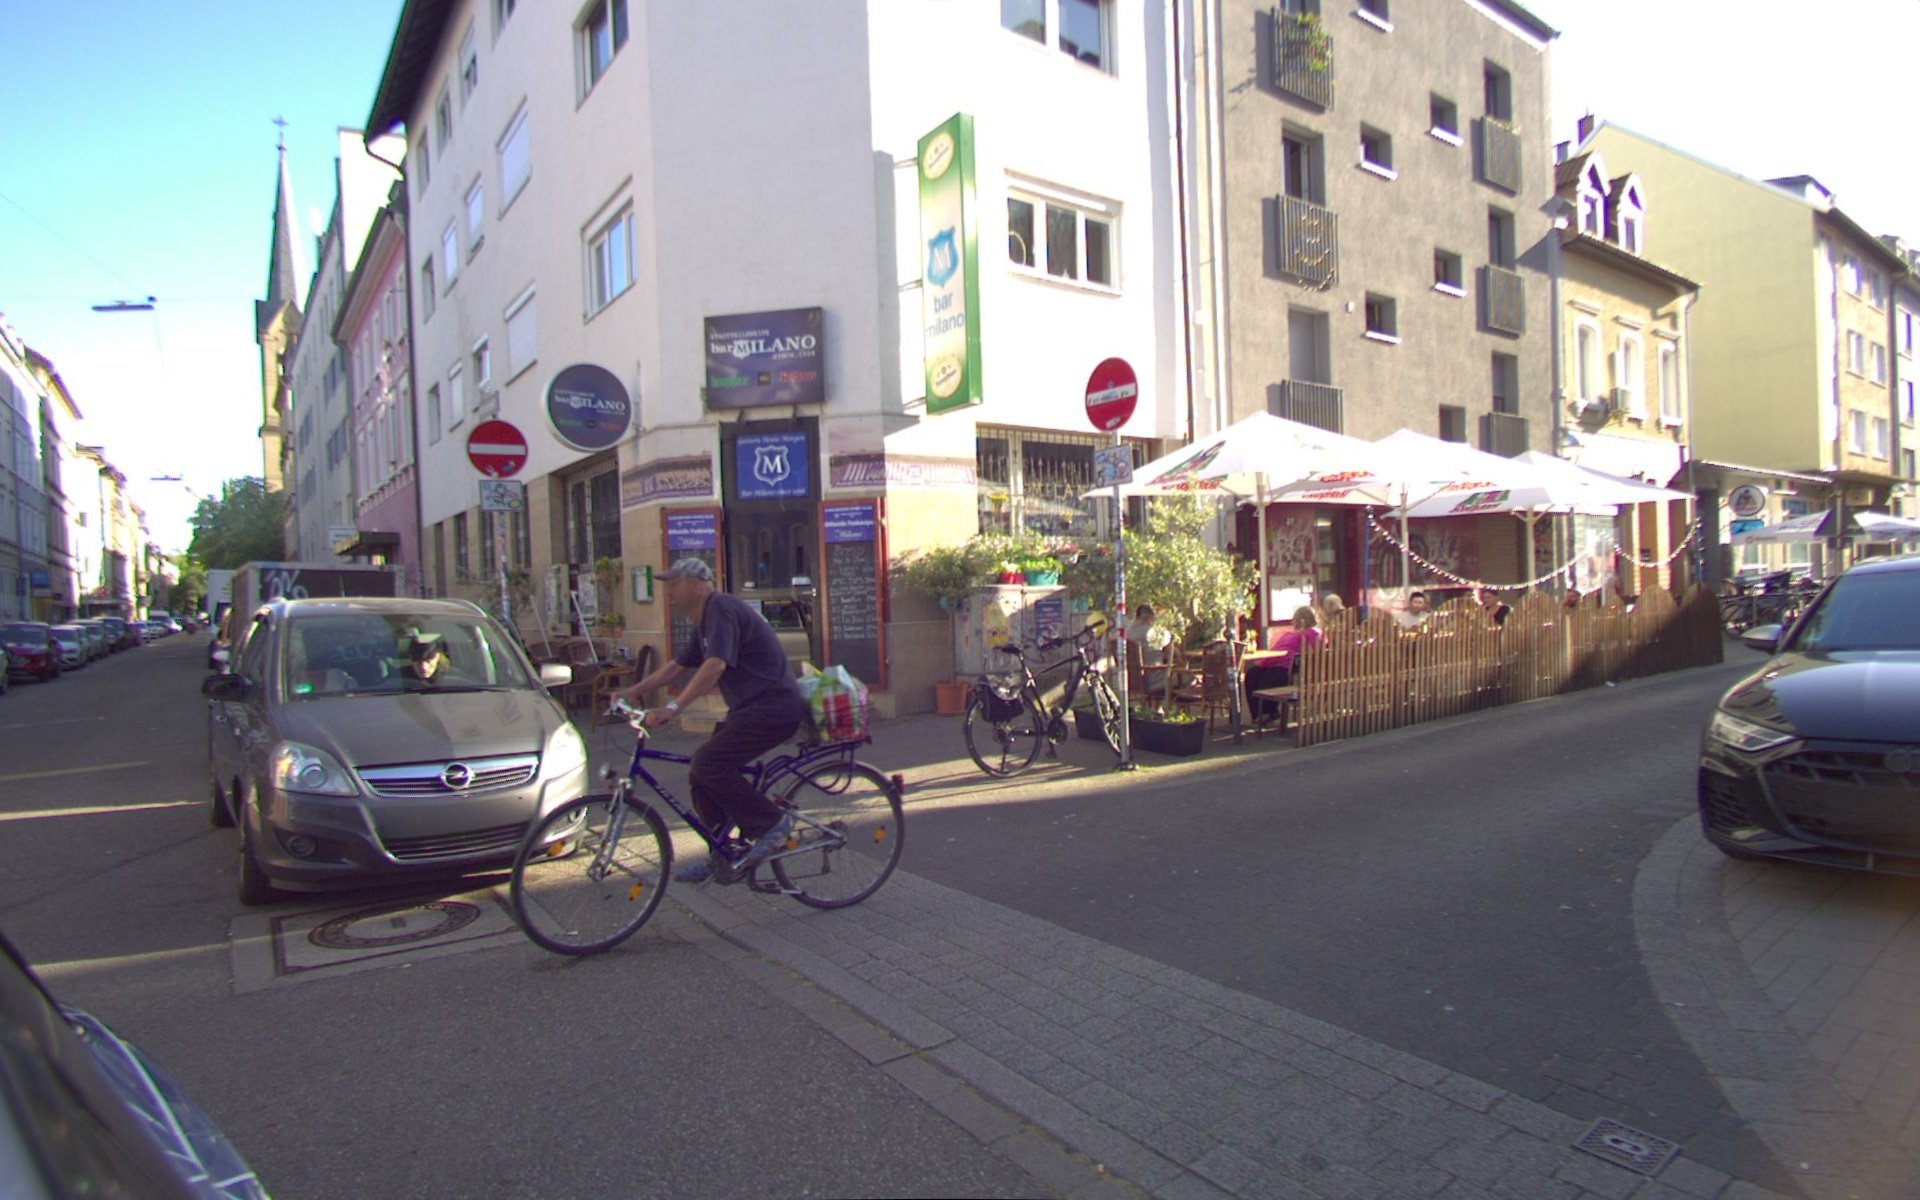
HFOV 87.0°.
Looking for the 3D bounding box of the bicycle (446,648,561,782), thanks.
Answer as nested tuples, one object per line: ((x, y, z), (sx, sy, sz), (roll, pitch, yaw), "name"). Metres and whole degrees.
((-4.506, 1.079, 9.942), (0.569, 1.147, 1.463), (-4, 1, -42), "bicycle")

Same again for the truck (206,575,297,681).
((-24.029, 0.863, 34.324), (2.260, 3.207, 7.061), (-1, 0, -35), "truck")

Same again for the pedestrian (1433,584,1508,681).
((7.016, 0.426, 13.936), (0.650, 1.275, 0.616), (-3, 1, -7), "pedestrian")

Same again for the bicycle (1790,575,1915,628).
((19.389, 0.026, 22.030), (0.602, 1.078, 1.933), (-3, 1, -32), "bicycle")

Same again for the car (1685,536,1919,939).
((5.149, 0.420, 4.845), (4.088, 1.466, 1.762), (-3, 0, -40), "car")

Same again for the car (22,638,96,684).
((-31.422, 2.073, 35.377), (1.588, 1.406, 3.890), (0, 0, -37), "car")

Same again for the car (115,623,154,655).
((-58.362, 2.703, 71.515), (1.969, 2.028, 4.571), (-4, 2, -40), "car")

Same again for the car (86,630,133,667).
((-45.552, 2.544, 54.262), (1.687, 1.826, 4.230), (0, -1, -37), "car")

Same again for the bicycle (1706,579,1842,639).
((15.408, 0.179, 19.215), (1.920, 1.078, 0.606), (-2, 1, 31), "bicycle")

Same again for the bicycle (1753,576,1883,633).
((17.633, 0.091, 20.846), (0.602, 1.078, 1.933), (-3, 1, -32), "bicycle")

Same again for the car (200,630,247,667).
((-34.244, 2.201, 47.055), (1.661, 1.502, 3.923), (-2, 1, -37), "car")

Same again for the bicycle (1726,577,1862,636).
((16.309, 0.125, 19.842), (0.602, 1.078, 1.933), (-3, 1, -32), "bicycle")

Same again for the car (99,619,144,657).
((-50.770, 2.263, 61.340), (1.968, 2.028, 4.573), (-4, 2, -39), "car")

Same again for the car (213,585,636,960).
((-3.707, 0.793, 6.555), (1.700, 1.617, 4.174), (0, -1, -38), "car")

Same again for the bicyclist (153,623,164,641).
((-74.403, 2.966, 93.938), (0.705, 1.671, 0.879), (-3, 1, -39), "bicyclist")

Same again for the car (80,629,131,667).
((-42.290, 2.340, 50.143), (1.687, 1.744, 4.230), (0, -1, -37), "car")

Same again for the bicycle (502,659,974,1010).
((-0.957, 0.923, 4.587), (1.902, 1.120, 0.712), (-4, 1, -32), "bicycle")

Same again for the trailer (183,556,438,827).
((-6.555, 0.722, 9.982), (1.640, 2.076, 4.372), (0, -1, -39), "trailer")

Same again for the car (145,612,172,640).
((-84.412, 2.692, 106.595), (1.969, 2.814, 4.571), (-4, 1, -40), "car")

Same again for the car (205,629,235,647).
((-70.620, 3.626, 96.544), (1.898, 1.542, 4.571), (-4, 2, -40), "car")

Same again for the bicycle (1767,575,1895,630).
((18.316, 0.053, 21.326), (0.602, 1.078, 1.933), (-3, 1, -32), "bicycle")

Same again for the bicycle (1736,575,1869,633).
((16.890, 0.080, 20.340), (0.602, 1.078, 1.933), (-3, 1, -32), "bicycle")

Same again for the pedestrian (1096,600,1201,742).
((1.810, 0.655, 9.738), (0.677, 1.275, 0.662), (-3, 1, -33), "pedestrian")

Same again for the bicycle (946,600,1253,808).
((1.171, 0.725, 8.108), (2.443, 1.369, 0.931), (-2, 0, -36), "bicycle")

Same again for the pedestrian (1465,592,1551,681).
((7.008, 0.452, 12.958), (0.712, 1.061, 0.680), (-3, 1, -32), "pedestrian")

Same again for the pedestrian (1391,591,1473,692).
((5.695, 0.486, 12.248), (0.681, 1.153, 0.659), (-2, 1, 7), "pedestrian")

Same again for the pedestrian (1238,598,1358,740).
((3.323, 0.645, 9.948), (0.836, 1.275, 0.708), (-3, 1, -33), "pedestrian")

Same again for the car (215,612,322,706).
((-15.532, 1.213, 22.632), (1.779, 1.859, 4.253), (-1, 0, -37), "car")

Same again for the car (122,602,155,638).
((-69.282, 1.690, 85.293), (1.969, 2.814, 4.571), (-4, 1, -40), "car")

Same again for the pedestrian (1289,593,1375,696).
((4.479, 0.519, 12.206), (0.649, 1.163, 0.683), (-3, 1, -27), "pedestrian")

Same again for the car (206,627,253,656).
((-43.889, 2.461, 60.770), (1.898, 1.542, 4.571), (-4, 2, -40), "car")

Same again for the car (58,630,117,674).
((-38.354, 2.240, 44.547), (1.687, 1.744, 4.230), (0, -1, -37), "car")

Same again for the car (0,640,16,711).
((-22.104, 1.696, 22.239), (1.595, 1.515, 3.781), (0, 0, -37), "car")

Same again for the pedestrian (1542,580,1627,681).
((8.266, 0.388, 13.417), (0.672, 1.275, 0.723), (-2, 1, 6), "pedestrian")

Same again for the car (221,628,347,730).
((-12.299, 1.311, 18.276), (1.651, 1.508, 4.541), (0, 0, -37), "car")

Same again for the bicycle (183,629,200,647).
((-75.049, 3.700, 98.768), (1.004, 1.663, 3.553), (-4, 2, -41), "bicycle")

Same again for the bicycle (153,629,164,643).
((-74.373, 3.368, 93.925), (0.718, 1.189, 2.493), (-3, 1, -39), "bicycle")

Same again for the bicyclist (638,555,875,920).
((-0.932, 0.551, 4.584), (0.776, 1.446, 0.712), (-4, 1, -32), "bicyclist")

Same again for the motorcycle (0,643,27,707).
((-24.338, 1.876, 25.506), (0.975, 1.501, 2.272), (0, -1, -37), "motorcycle")

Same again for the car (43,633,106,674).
((-35.363, 2.094, 40.480), (1.588, 1.463, 3.890), (0, 0, -37), "car")

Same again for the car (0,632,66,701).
((-26.779, 1.841, 28.775), (1.687, 1.744, 4.417), (0, -1, -37), "car")

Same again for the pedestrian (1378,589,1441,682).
((5.857, 0.456, 13.209), (0.536, 1.153, 0.659), (-2, 1, 7), "pedestrian")

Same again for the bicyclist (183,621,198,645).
((-75.062, 3.228, 98.732), (1.004, 2.310, 1.534), (-4, 1, -41), "bicyclist")

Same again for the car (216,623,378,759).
((-9.362, 1.138, 14.168), (1.655, 1.566, 3.826), (0, 0, -37), "car")
